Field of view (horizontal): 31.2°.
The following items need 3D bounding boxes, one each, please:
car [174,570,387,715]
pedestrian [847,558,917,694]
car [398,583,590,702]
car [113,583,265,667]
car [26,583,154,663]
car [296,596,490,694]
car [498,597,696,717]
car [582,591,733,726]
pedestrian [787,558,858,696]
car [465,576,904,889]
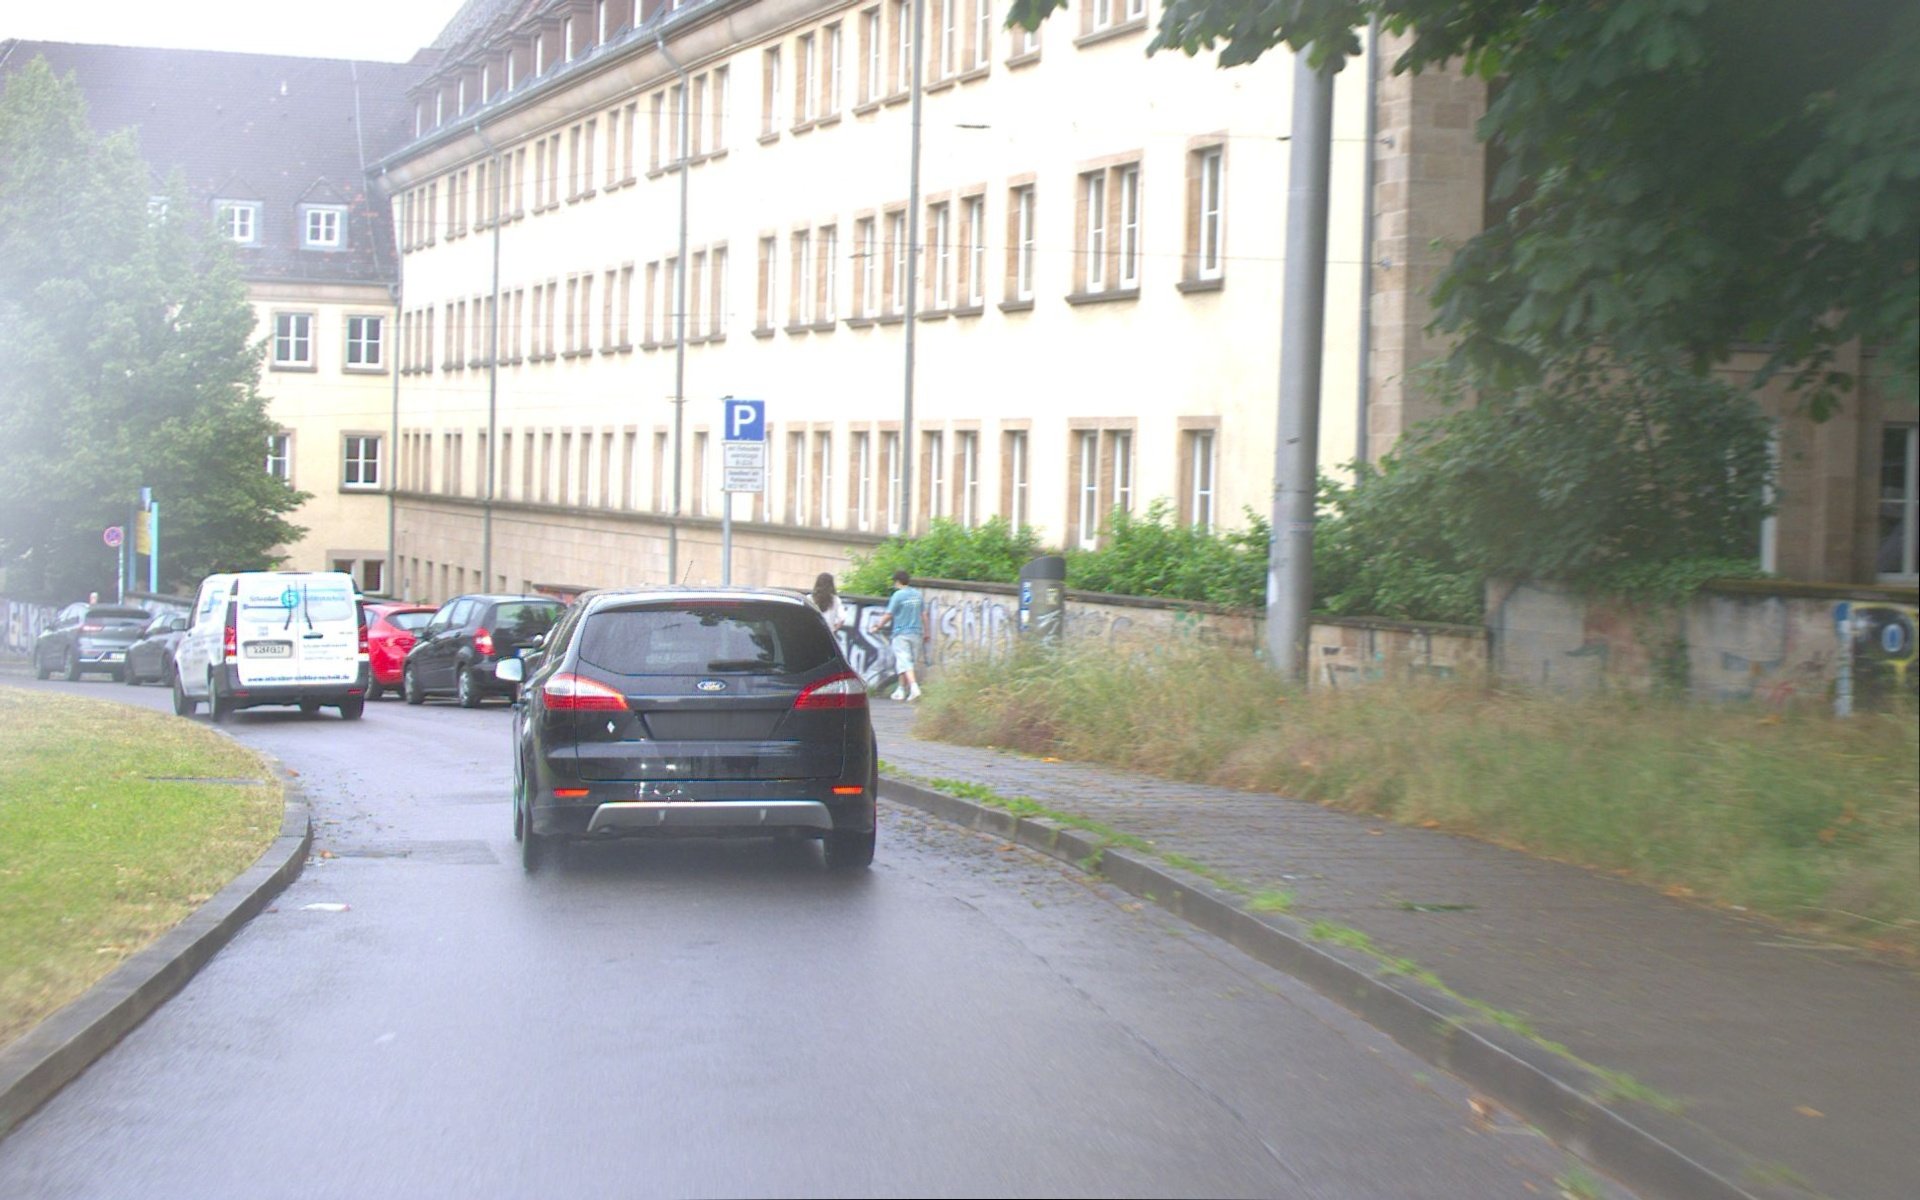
[{"bbox_3d":[-8.794,0.497,44.242,2.136,1.739,4.219,-1,1,-19],"label":"car"},{"bbox_3d":[-1.017,0.331,44.682,0.717,1.749,0.739,-1,0,-17],"label":"pedestrian"},{"bbox_3d":[-6.639,0.576,48.669,1.665,1.568,3.856,-1,0,-24],"label":"car"},{"bbox_3d":[-14.316,0.447,63.712,1.665,1.471,4.109,-1,1,-28],"label":"car"},{"bbox_3d":[-17.429,0.439,68.759,1.665,1.519,4.109,-1,1,-26],"label":"car"},{"bbox_3d":[-8.879,0.682,53.603,1.665,1.471,4.066,1,-1,-30],"label":"car"},{"bbox_3d":[-4.647,0.688,43.622,1.535,1.411,3.645,-1,1,-22],"label":"car"},{"bbox_3d":[-3.522,0.646,39.731,1.597,1.460,2.721,-1,1,-7],"label":"car"},{"bbox_3d":[-1.774,0.338,44.174,0.717,1.749,0.739,-1,0,-17],"label":"pedestrian"},{"bbox_3d":[-1.610,0.623,18.705,1.919,1.474,4.001,-1,1,-11],"label":"car"}]
